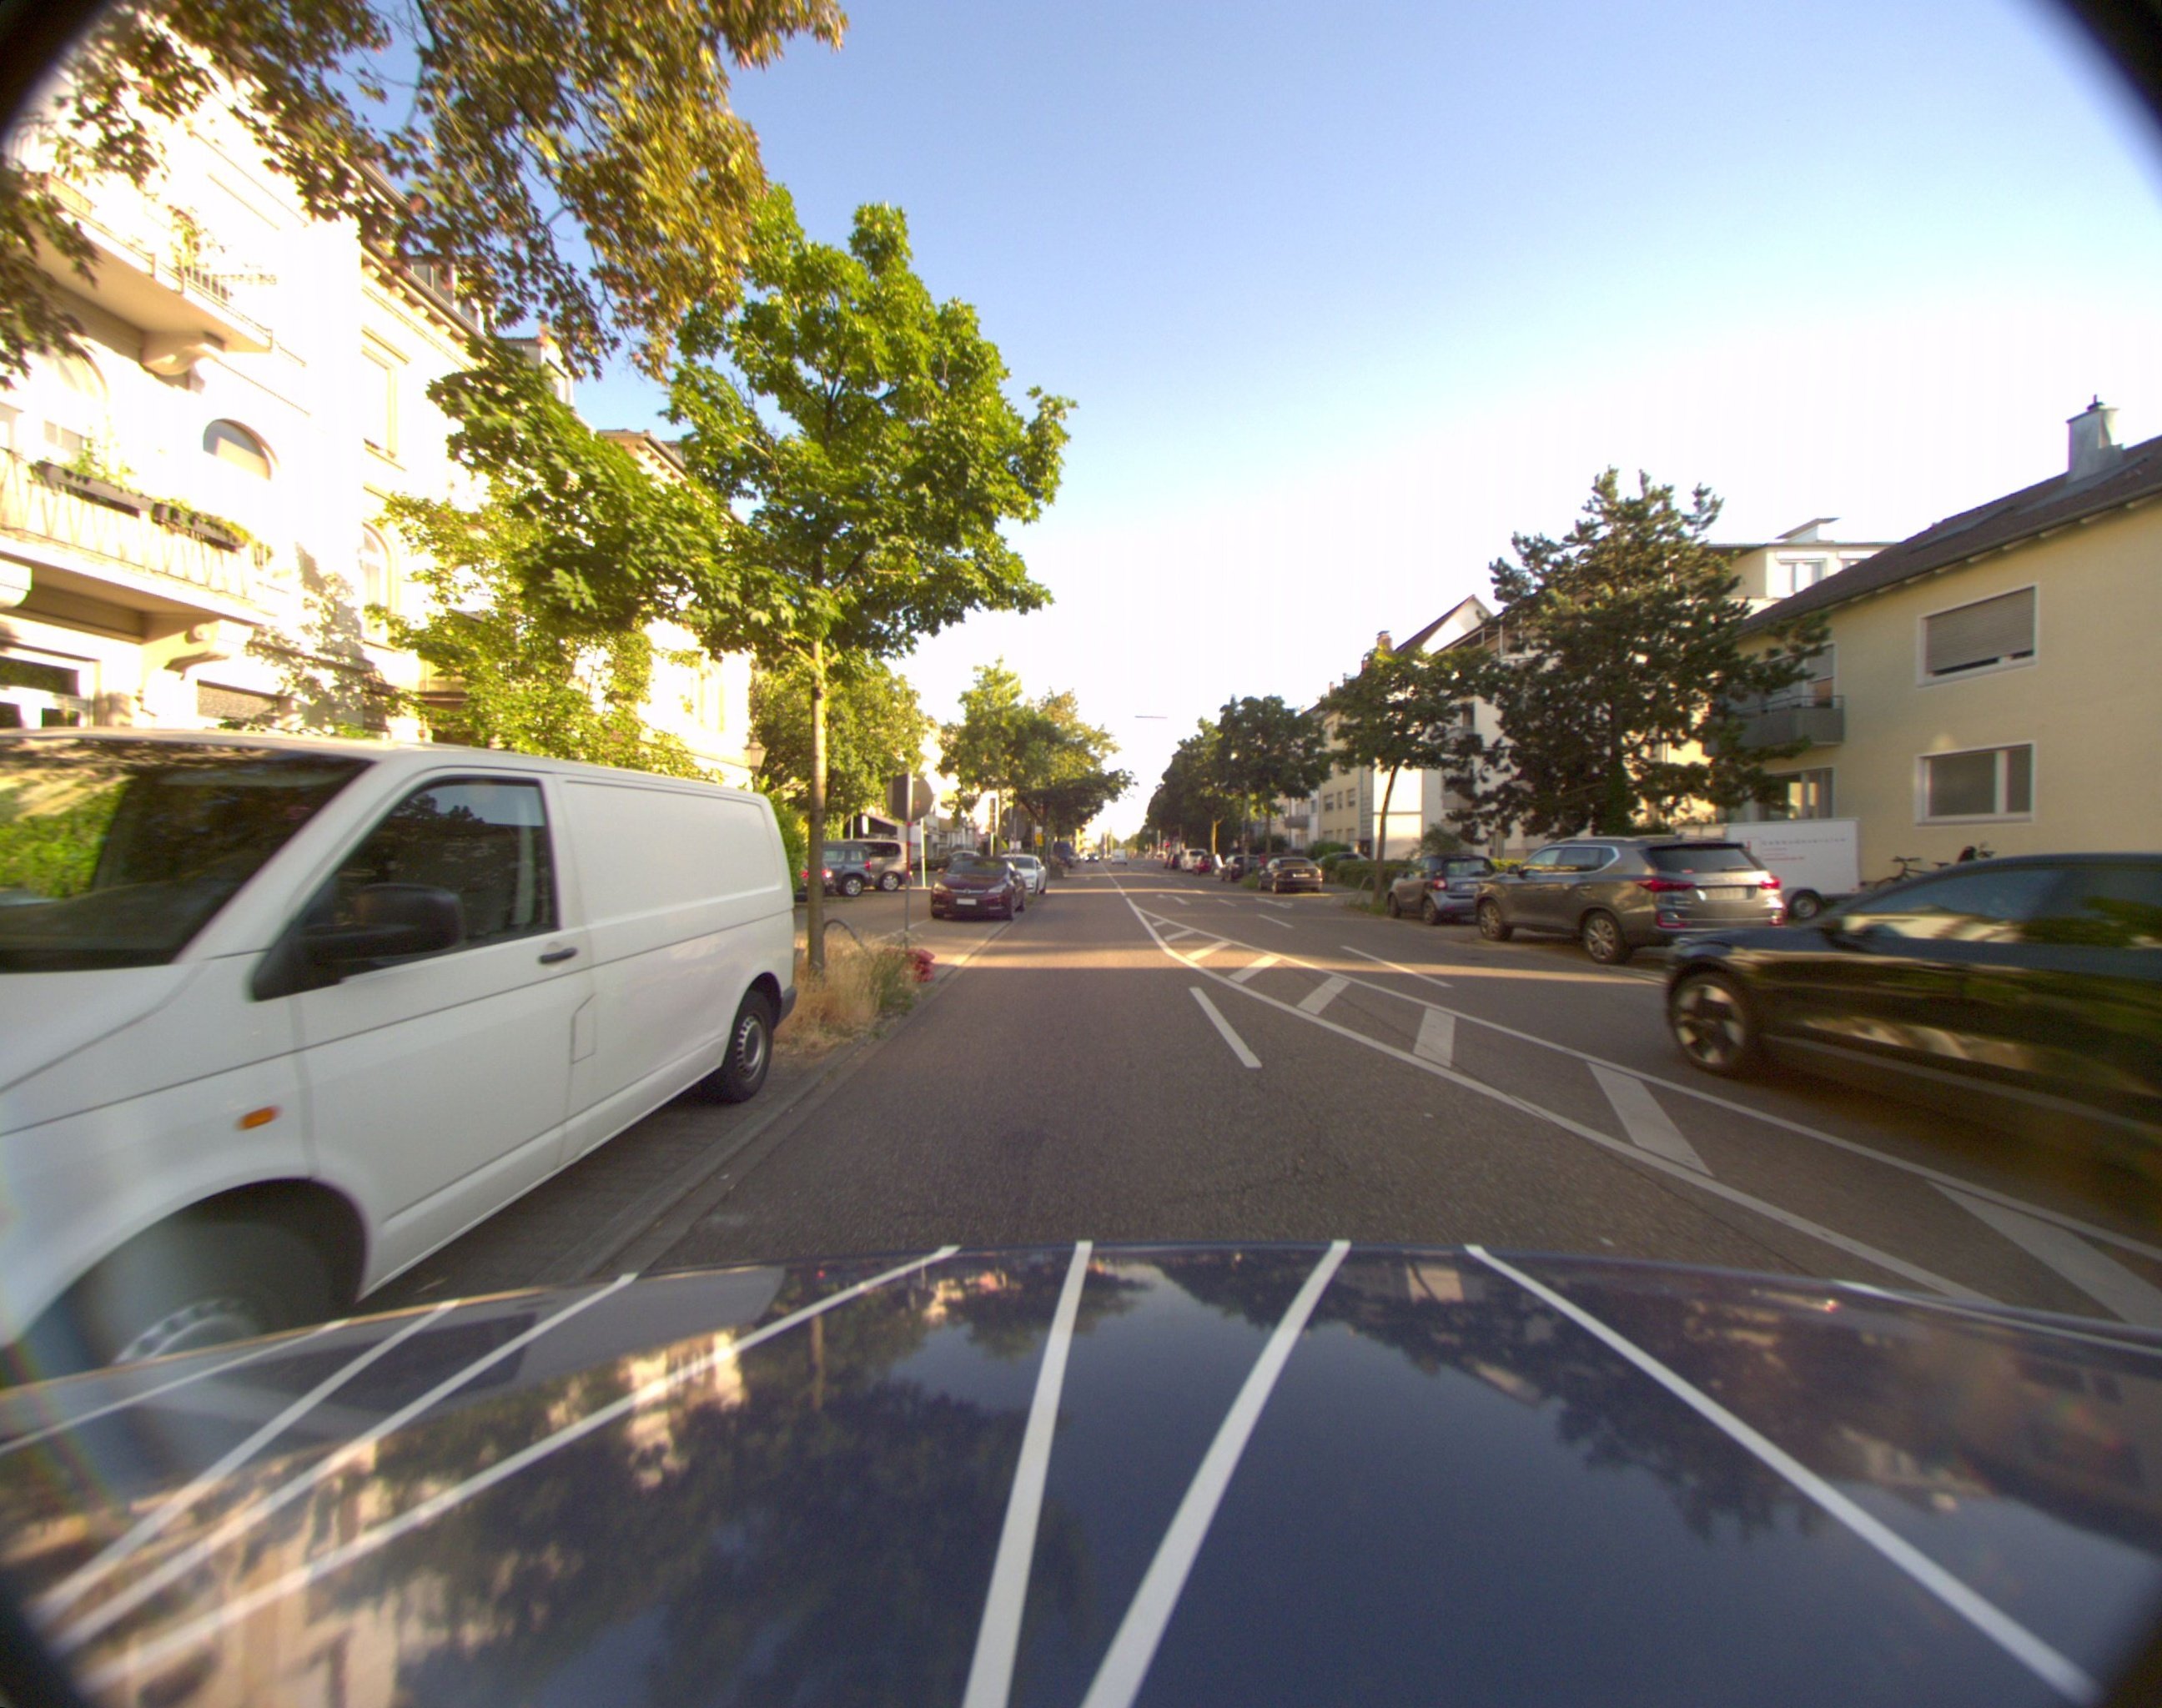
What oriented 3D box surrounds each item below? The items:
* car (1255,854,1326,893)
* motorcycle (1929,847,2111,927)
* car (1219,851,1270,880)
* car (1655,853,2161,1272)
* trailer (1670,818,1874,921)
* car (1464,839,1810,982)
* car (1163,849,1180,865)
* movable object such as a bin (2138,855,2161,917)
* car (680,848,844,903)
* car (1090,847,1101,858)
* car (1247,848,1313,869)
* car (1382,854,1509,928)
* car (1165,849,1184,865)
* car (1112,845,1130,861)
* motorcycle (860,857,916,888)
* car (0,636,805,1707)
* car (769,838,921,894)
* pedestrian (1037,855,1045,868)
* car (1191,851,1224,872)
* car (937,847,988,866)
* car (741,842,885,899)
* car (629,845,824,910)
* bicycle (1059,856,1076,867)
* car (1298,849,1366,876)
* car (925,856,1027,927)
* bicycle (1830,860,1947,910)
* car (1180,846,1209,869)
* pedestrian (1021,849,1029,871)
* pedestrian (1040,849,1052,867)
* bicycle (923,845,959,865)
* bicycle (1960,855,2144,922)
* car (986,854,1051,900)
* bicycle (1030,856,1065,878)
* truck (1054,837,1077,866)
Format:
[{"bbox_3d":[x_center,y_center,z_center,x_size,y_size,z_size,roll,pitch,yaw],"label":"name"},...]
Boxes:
[{"bbox_3d":[8.190,0.703,30.101,1.641,1.399,4.443,0,1,1],"label":"car"},{"bbox_3d":[17.303,0.559,14.113,0.572,1.366,2.258,0,1,1],"label":"motorcycle"},{"bbox_3d":[8.714,0.590,40.891,1.862,1.477,3.999,0,0,0],"label":"car"},{"bbox_3d":[5.085,0.839,3.480,1.840,1.561,3.999,2,1,1],"label":"car"},{"bbox_3d":[14.175,0.299,15.696,2.780,2.002,1.552,0,1,-1],"label":"trailer"},{"bbox_3d":[8.092,0.682,11.802,1.892,1.769,4.725,0,1,0],"label":"car"},{"bbox_3d":[9.023,0.286,75.773,1.407,1.456,3.682,-2,1,2],"label":"car"},{"bbox_3d":[18.123,0.529,12.606,0.504,1.013,0.450,0,1,0],"label":"movable object such as a bin"},{"bbox_3d":[-8.941,0.609,21.513,4.105,1.432,1.713,2,0,-22],"label":"car"},{"bbox_3d":[2.103,-0.226,111.082,1.596,1.696,4.000,0,1,1],"label":"car"},{"bbox_3d":[15.363,0.342,58.807,4.563,1.397,1.739,-2,1,-9],"label":"car"},{"bbox_3d":[8.237,0.778,17.399,1.577,1.546,2.749,0,1,0],"label":"car"},{"bbox_3d":[8.772,0.302,71.490,1.407,1.397,3.682,-2,1,2],"label":"car"},{"bbox_3d":[4.797,-0.141,91.864,1.893,1.793,4.430,2,1,-1],"label":"car"},{"bbox_3d":[-7.870,0.729,31.026,2.163,1.232,0.789,0,1,-9],"label":"motorcycle"},{"bbox_3d":[-2.897,0.643,3.044,1.908,2.091,4.640,0,1,-1],"label":"car"},{"bbox_3d":[-8.462,0.388,27.364,4.946,1.888,1.916,0,1,-28],"label":"car"},{"bbox_3d":[-3.231,0.576,61.715,0.553,1.053,0.532,0,1,2],"label":"pedestrian"},{"bbox_3d":[8.892,0.491,53.549,1.740,1.455,3.636,0,1,1],"label":"car"},{"bbox_3d":[-9.372,0.212,60.263,3.877,1.496,1.575,0,1,-4],"label":"car"},{"bbox_3d":[-8.572,0.494,24.344,4.106,1.690,1.783,1,1,-29],"label":"car"},{"bbox_3d":[-8.856,0.601,19.373,4.255,1.502,1.789,2,0,-17],"label":"car"},{"bbox_3d":[-1.236,0.688,69.760,1.469,1.058,0.445,0,1,1],"label":"bicycle"},{"bbox_3d":[14.688,0.491,44.620,3.467,1.515,1.686,0,1,2],"label":"car"},{"bbox_3d":[-2.408,0.808,18.533,1.761,1.412,4.614,2,1,1],"label":"car"},{"bbox_3d":[18.602,0.688,17.582,0.520,1.057,2.046,0,1,1],"label":"bicycle"},{"bbox_3d":[9.028,0.264,60.577,1.740,1.799,4.191,0,1,1],"label":"car"},{"bbox_3d":[-4.539,0.504,61.903,0.619,1.761,0.562,0,0,2],"label":"pedestrian"},{"bbox_3d":[-2.755,0.307,60.415,0.917,1.436,0.811,0,1,-1],"label":"pedestrian"},{"bbox_3d":[-9.961,0.068,54.126,2.459,1.433,0.928,0,1,-1],"label":"bicycle"},{"bbox_3d":[18.087,0.599,14.263,0.572,1.134,2.258,0,1,1],"label":"bicycle"},{"bbox_3d":[-2.134,0.761,27.129,1.825,1.469,4.621,0,1,1],"label":"car"},{"bbox_3d":[-1.924,0.729,43.143,1.894,1.155,0.616,2,2,28],"label":"bicycle"},{"bbox_3d":[-1.460,-0.250,73.582,1.998,2.629,5.615,0,1,1],"label":"truck"}]
